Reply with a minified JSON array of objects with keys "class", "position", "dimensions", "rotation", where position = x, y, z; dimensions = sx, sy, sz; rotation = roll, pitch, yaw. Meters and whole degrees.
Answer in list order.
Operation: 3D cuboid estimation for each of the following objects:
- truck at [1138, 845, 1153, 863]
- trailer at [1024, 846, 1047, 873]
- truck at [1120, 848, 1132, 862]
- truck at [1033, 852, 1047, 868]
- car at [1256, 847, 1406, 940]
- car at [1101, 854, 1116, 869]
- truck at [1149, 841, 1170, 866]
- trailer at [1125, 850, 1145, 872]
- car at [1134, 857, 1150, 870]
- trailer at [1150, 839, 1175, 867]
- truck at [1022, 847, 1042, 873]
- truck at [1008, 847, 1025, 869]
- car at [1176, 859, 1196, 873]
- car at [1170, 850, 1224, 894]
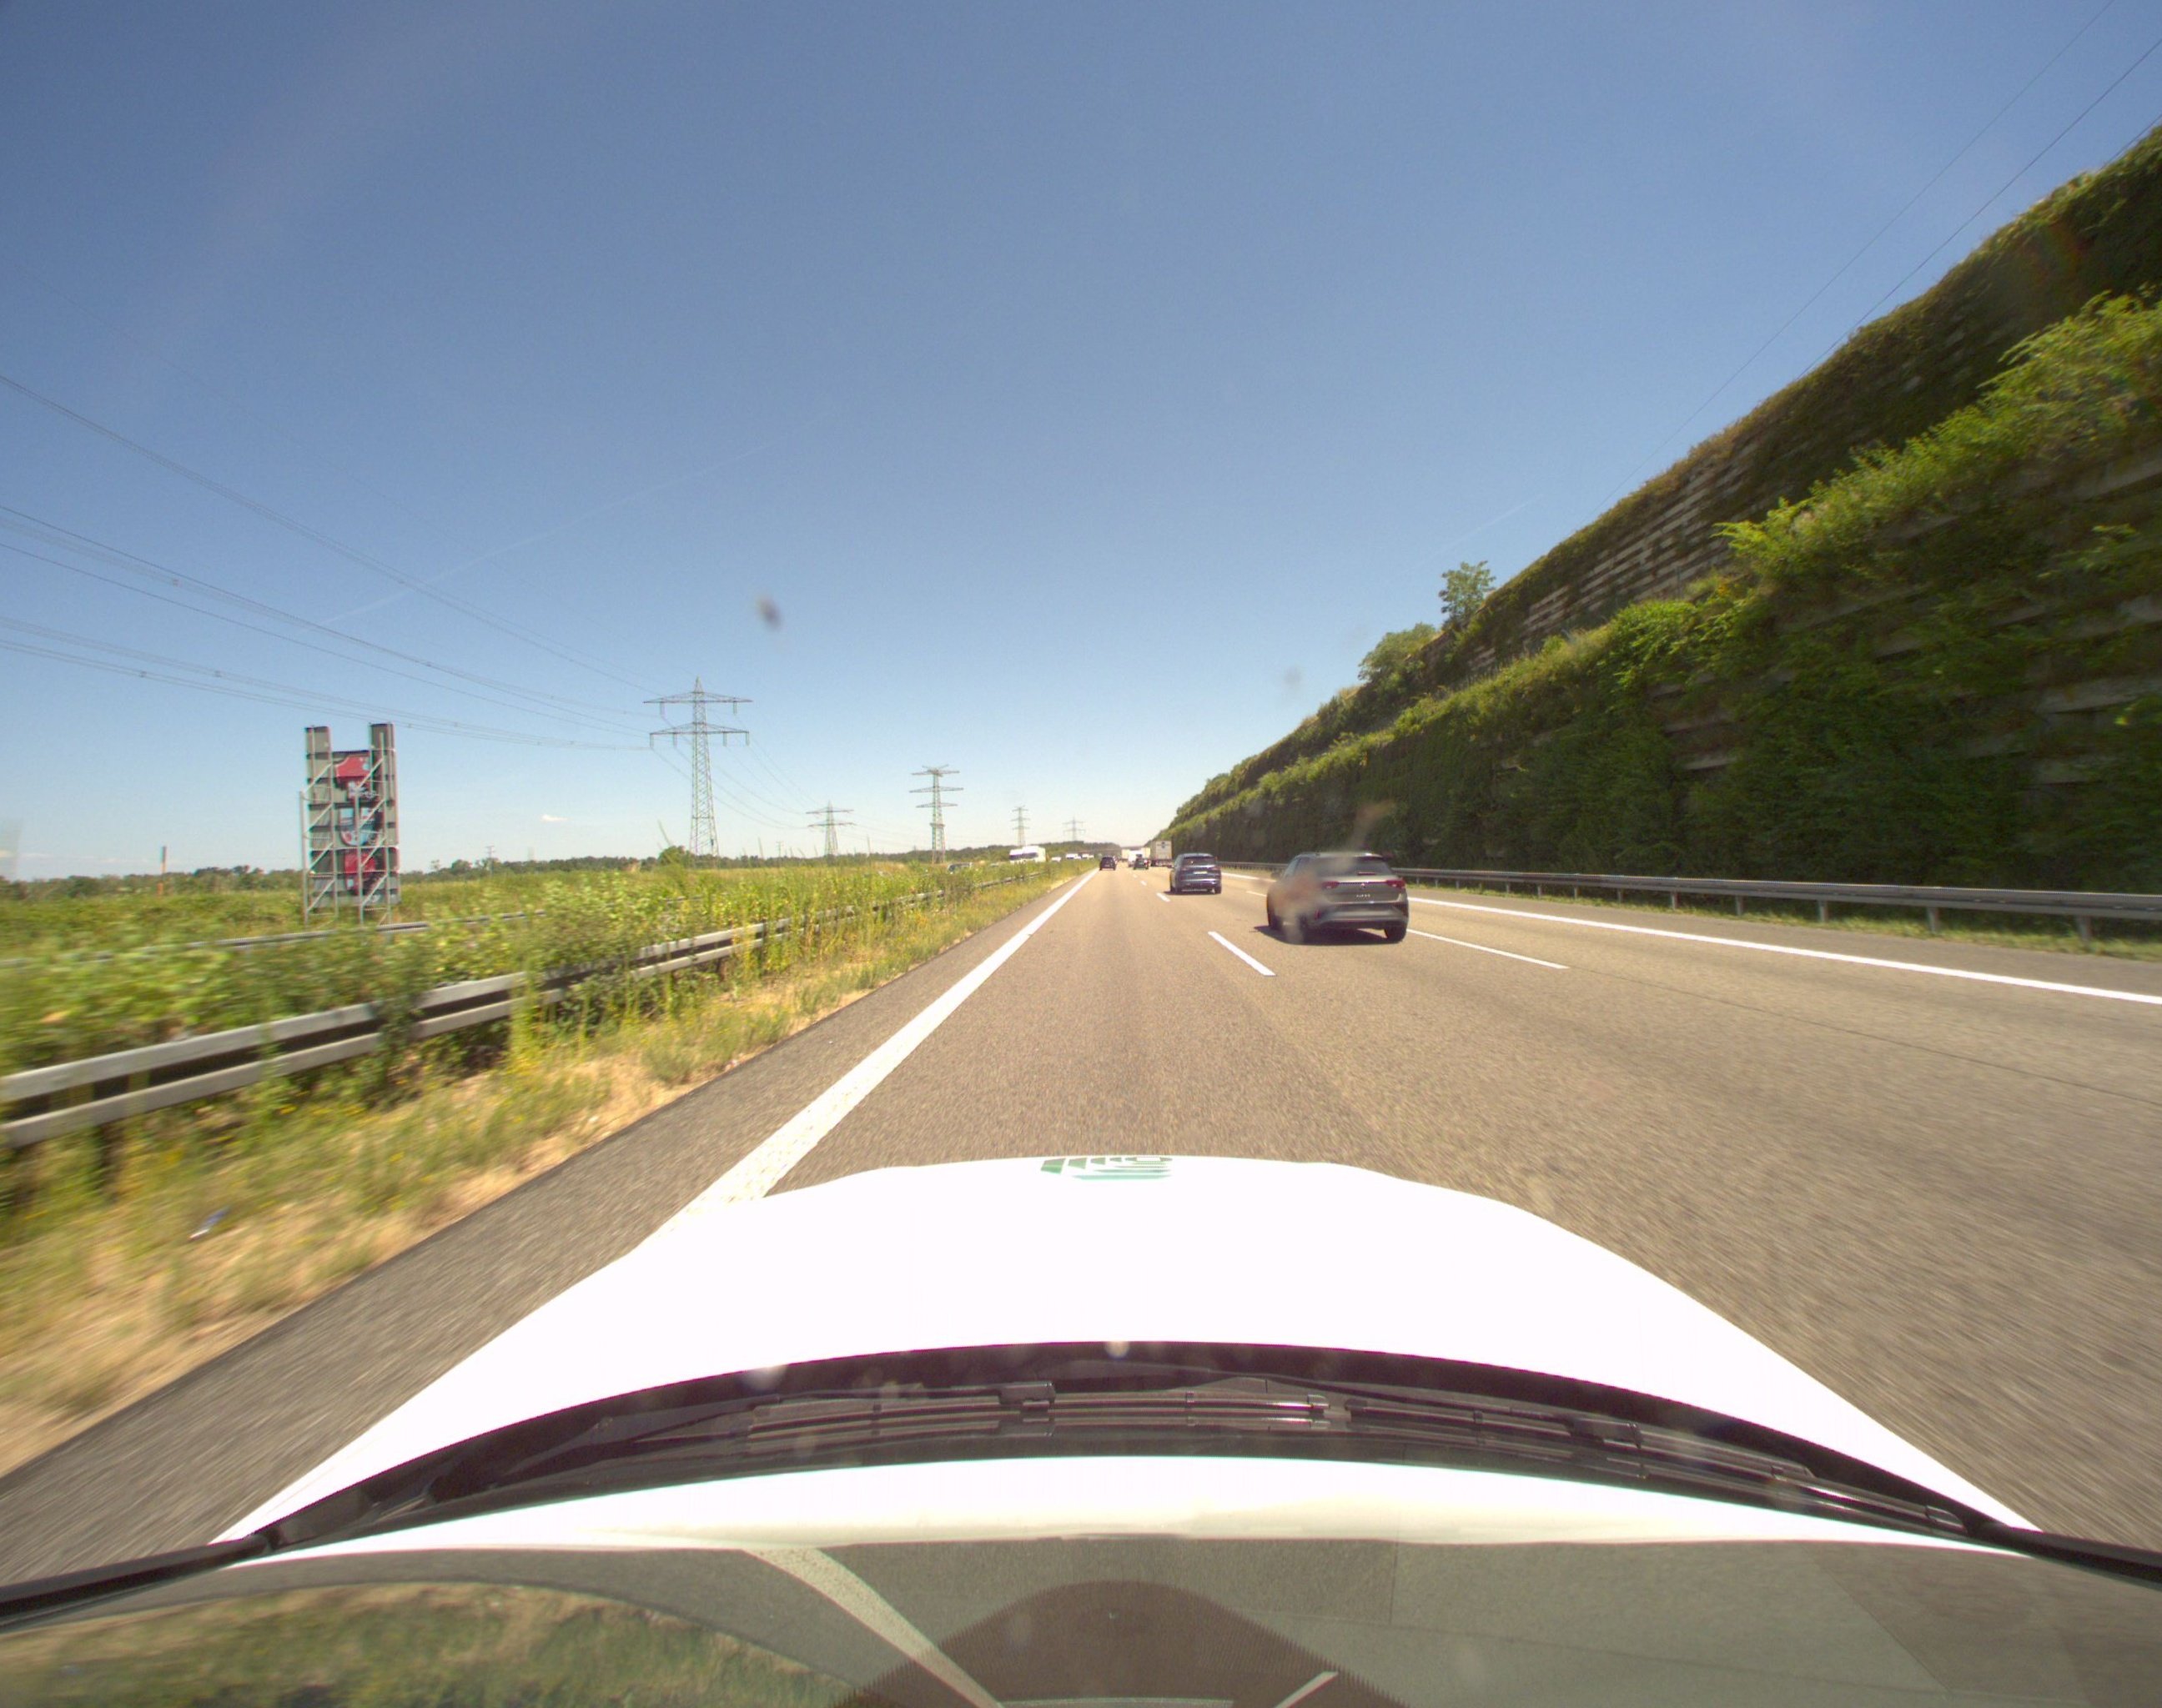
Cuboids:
[{"class":"truck","position":[16.400,0.012,206.974],"dimensions":[3.107,4.280,11.940],"rotation":[-2,0,2]},{"class":"trailer","position":[-7.876,0.973,142.227],"dimensions":[2.759,4.349,14.242],"rotation":[-1,0,1]},{"class":"truck","position":[14.245,0.205,259.856],"dimensions":[3.396,4.280,10.613],"rotation":[-2,0,2]},{"class":"truck","position":[-9.872,1.354,197.605],"dimensions":[2.714,3.727,5.648],"rotation":[-3,0,2]},{"class":"car","position":[4.645,0.678,15.740],"dimensions":[1.743,1.525,3.996],"rotation":[-2,0,2]},{"class":"car","position":[3.376,0.927,99.814],"dimensions":[1.823,1.670,4.002],"rotation":[-3,0,2]},{"class":"truck","position":[13.273,-0.076,138.395],"dimensions":[3.123,4.142,5.507],"rotation":[-2,0,2]},{"class":"trailer","position":[8.499,1.106,128.801],"dimensions":[2.601,3.213,9.956],"rotation":[-2,0,2]},{"class":"car","position":[7.621,1.175,101.366],"dimensions":[1.822,1.525,4.003],"rotation":[-3,0,3]},{"class":"trailer","position":[13.071,-0.103,131.579],"dimensions":[3.170,4.121,13.438],"rotation":[-2,0,2]},{"class":"truck","position":[-8.068,0.983,135.027],"dimensions":[2.795,4.158,5.572],"rotation":[-1,0,2]},{"class":"truck","position":[-11.883,0.689,150.401],"dimensions":[2.767,3.853,5.569],"rotation":[-1,0,0]},{"class":"car","position":[11.548,1.332,89.858],"dimensions":[1.678,1.428,4.455],"rotation":[-1,0,2]},{"class":"car","position":[4.738,0.719,33.803],"dimensions":[1.787,1.653,4.140],"rotation":[-2,0,2]}]
